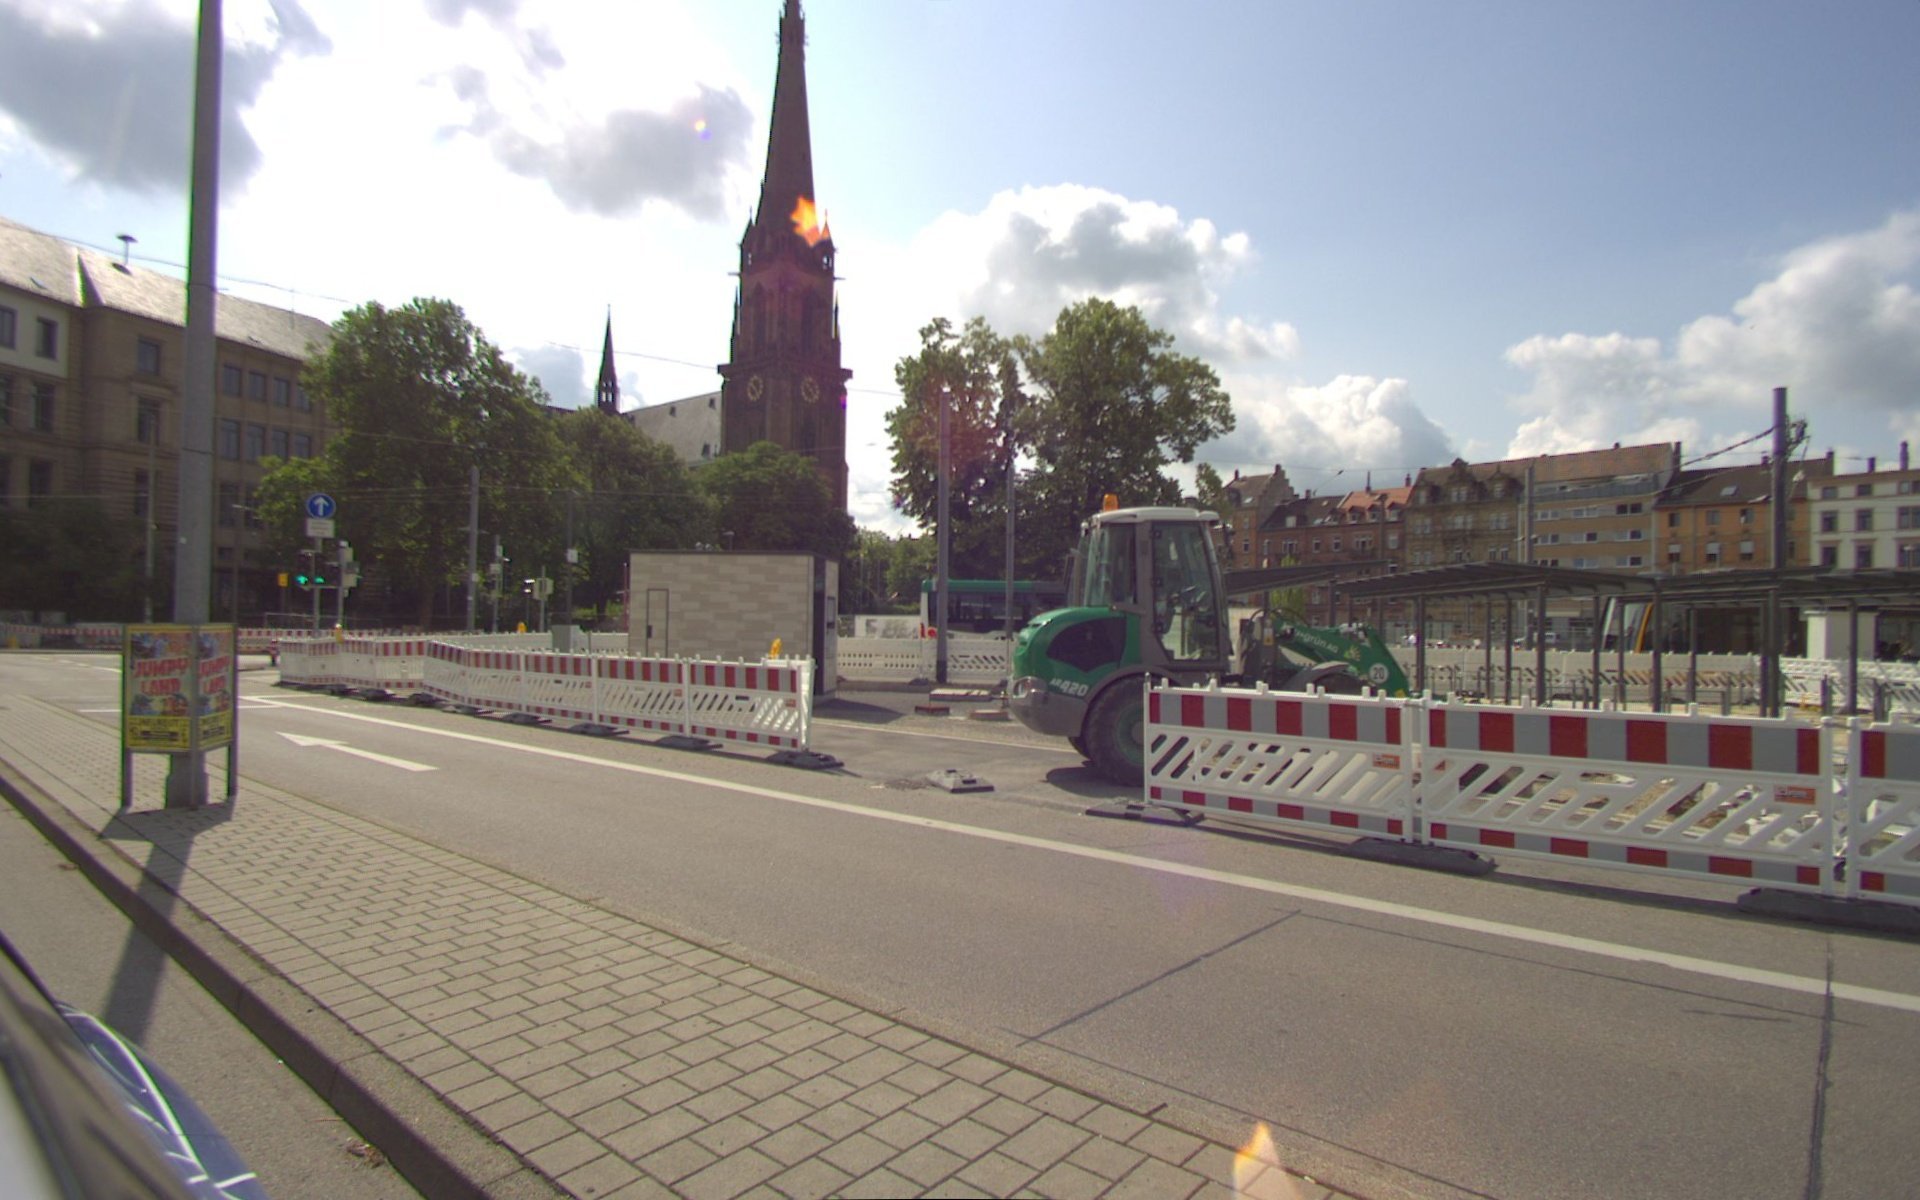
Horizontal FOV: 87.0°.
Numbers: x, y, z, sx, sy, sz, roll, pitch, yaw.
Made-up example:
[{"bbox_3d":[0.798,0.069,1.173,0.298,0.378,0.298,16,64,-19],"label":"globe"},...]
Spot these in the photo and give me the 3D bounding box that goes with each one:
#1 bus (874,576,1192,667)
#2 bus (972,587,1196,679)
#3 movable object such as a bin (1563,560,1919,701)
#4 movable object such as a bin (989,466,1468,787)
[{"bbox_3d":[2.791,0.840,39.671,11.928,3.287,2.988,1,-2,6],"label":"bus"},{"bbox_3d":[4.377,1.153,36.302,7.668,3.081,2.369,1,-2,6],"label":"bus"},{"bbox_3d":[21.768,0.786,26.717,9.573,3.450,3.014,0,-2,8],"label":"movable object such as a bin"},{"bbox_3d":[2.591,0.287,10.557,4.386,2.972,2.001,1,-2,-2],"label":"movable object such as a bin"}]
